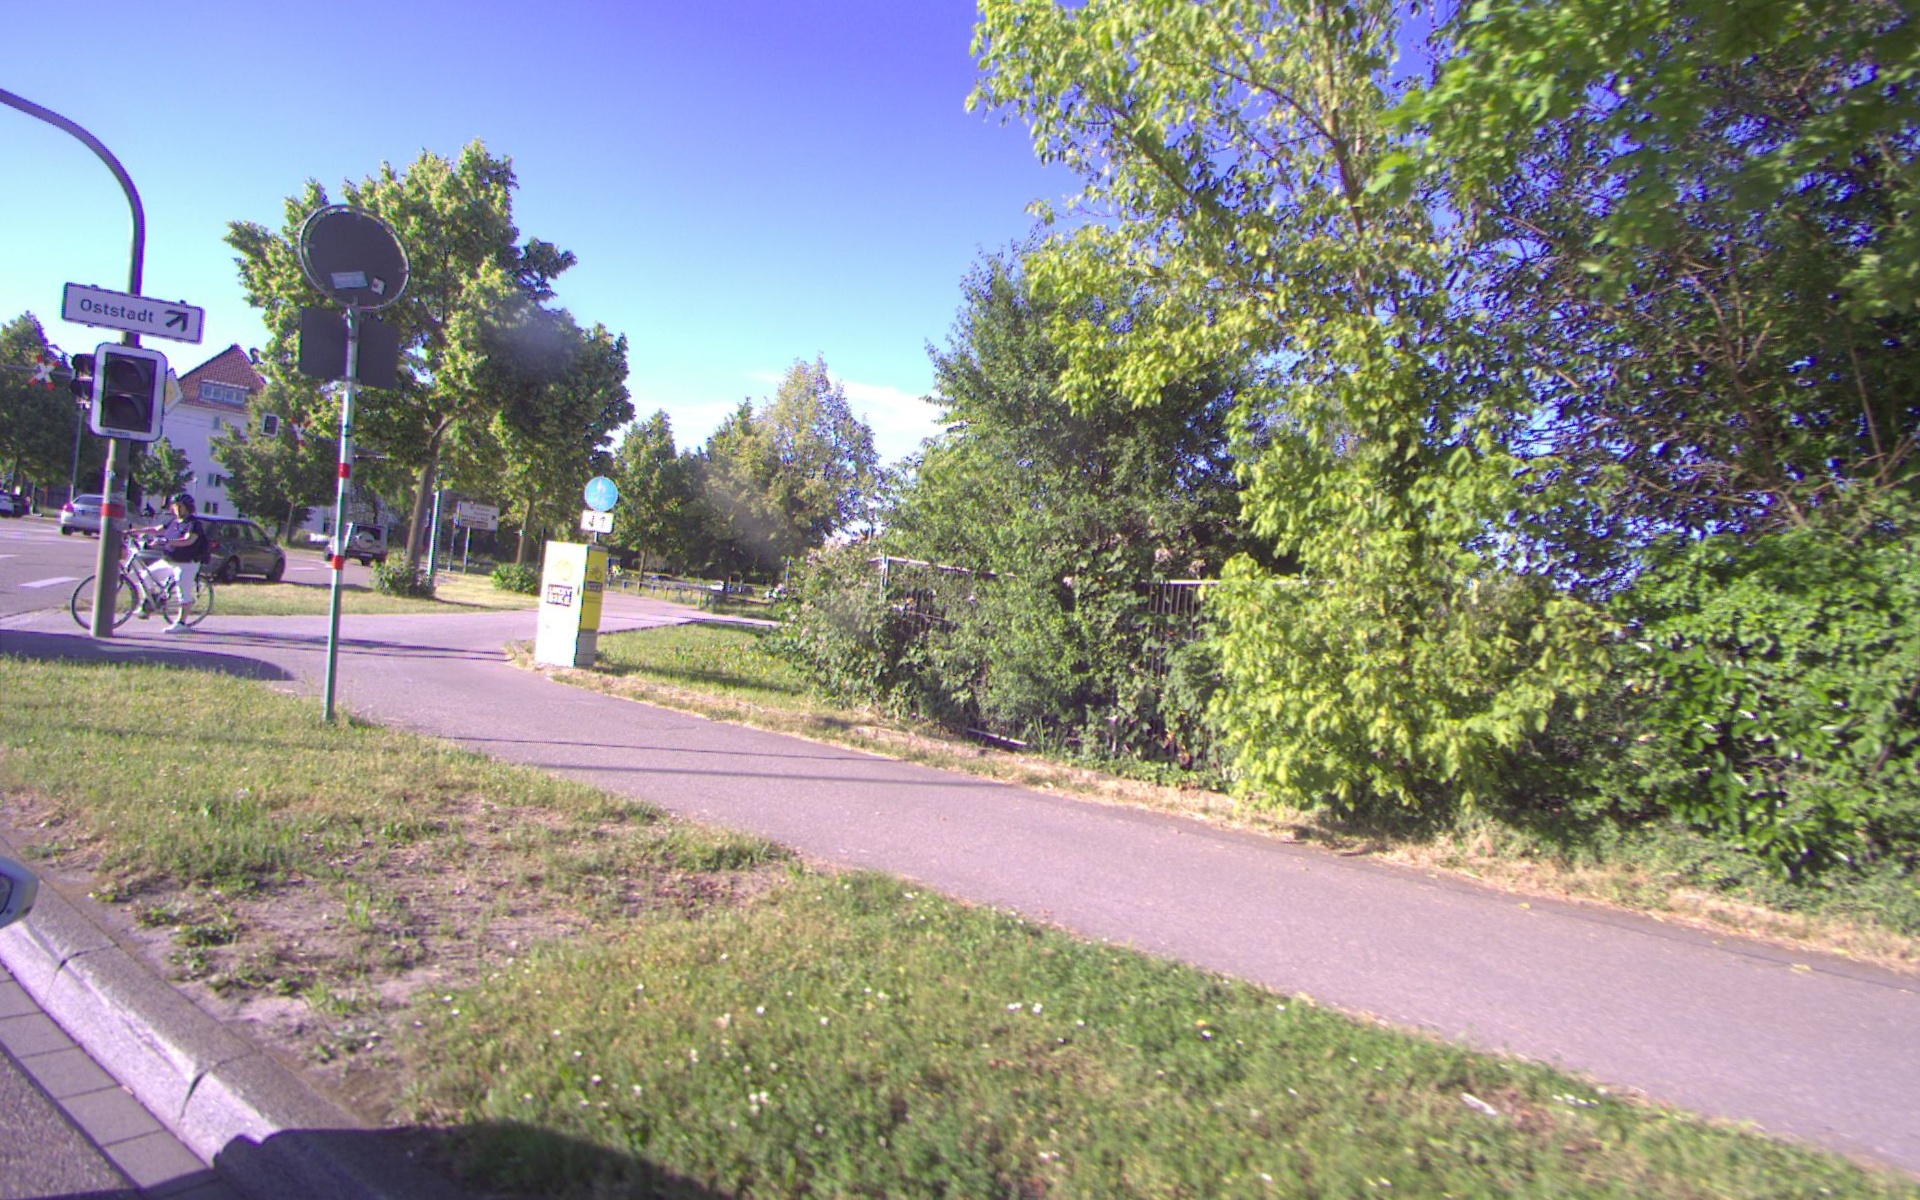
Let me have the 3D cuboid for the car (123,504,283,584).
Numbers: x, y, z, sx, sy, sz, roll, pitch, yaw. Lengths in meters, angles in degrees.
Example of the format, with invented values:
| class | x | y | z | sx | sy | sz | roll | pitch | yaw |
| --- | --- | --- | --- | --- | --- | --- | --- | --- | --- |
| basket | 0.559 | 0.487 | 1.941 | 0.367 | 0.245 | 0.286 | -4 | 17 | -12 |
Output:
| class | x | y | z | sx | sy | sz | roll | pitch | yaw |
| --- | --- | --- | --- | --- | --- | --- | --- | --- | --- |
| car | -17.288 | -1.241 | 23.207 | 1.695 | 1.453 | 4.133 | 7 | 0 | -20 |

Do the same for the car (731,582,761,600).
| class | x | y | z | sx | sy | sz | roll | pitch | yaw |
| --- | --- | --- | --- | --- | --- | --- | --- | --- | --- |
| car | -23.775 | -1.003 | 111.593 | 1.979 | 1.788 | 3.971 | 8 | -3 | -31 |

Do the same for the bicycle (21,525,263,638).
| class | x | y | z | sx | sy | sz | roll | pitch | yaw |
| --- | --- | --- | --- | --- | --- | --- | --- | --- | --- |
| bicycle | -9.772 | -0.188 | 12.163 | 0.859 | 1.169 | 2.217 | 5 | 0 | 8 |

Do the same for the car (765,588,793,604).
| class | x | y | z | sx | sy | sz | roll | pitch | yaw |
| --- | --- | --- | --- | --- | --- | --- | --- | --- | --- |
| car | -20.544 | -0.473 | 113.979 | 1.813 | 1.574 | 3.781 | 8 | -3 | -29 |

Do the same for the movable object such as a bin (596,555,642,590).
| class | x | y | z | sx | sy | sz | roll | pitch | yaw |
| --- | --- | --- | --- | --- | --- | --- | --- | --- | --- |
| movable object such as a bin | -31.590 | -2.561 | 93.128 | 1.987 | 2.820 | 4.991 | 8 | -3 | -41 |

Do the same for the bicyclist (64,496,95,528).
| class | x | y | z | sx | sy | sz | roll | pitch | yaw |
| --- | --- | --- | --- | --- | --- | --- | --- | --- | --- |
| bicyclist | -58.302 | -5.845 | 66.633 | 1.007 | 1.873 | 0.885 | 7 | -2 | -4 |

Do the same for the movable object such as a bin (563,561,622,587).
| class | x | y | z | sx | sy | sz | roll | pitch | yaw |
| --- | --- | --- | --- | --- | --- | --- | --- | --- | --- |
| movable object such as a bin | -37.043 | -2.636 | 101.535 | 4.984 | 1.970 | 2.217 | 9 | -3 | -39 |

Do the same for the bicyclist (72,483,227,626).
| class | x | y | z | sx | sy | sz | roll | pitch | yaw |
| --- | --- | --- | --- | --- | --- | --- | --- | --- | --- |
| bicyclist | -9.740 | -0.521 | 12.133 | 0.859 | 1.582 | 1.088 | 5 | 1 | 8 |

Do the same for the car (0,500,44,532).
| class | x | y | z | sx | sy | sz | roll | pitch | yaw |
| --- | --- | --- | --- | --- | --- | --- | --- | --- | --- |
| car | -55.580 | -5.023 | 57.515 | 4.329 | 1.558 | 1.999 | 7 | 0 | -4 |

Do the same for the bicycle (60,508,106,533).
| class | x | y | z | sx | sy | sz | roll | pitch | yaw |
| --- | --- | --- | --- | --- | --- | --- | --- | --- | --- |
| bicycle | -59.262 | -5.355 | 67.984 | 2.169 | 1.280 | 0.885 | 7 | -2 | -3 |

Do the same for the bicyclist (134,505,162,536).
| class | x | y | z | sx | sy | sz | roll | pitch | yaw |
| --- | --- | --- | --- | --- | --- | --- | --- | --- | --- |
| bicyclist | -55.207 | -5.387 | 68.401 | 1.006 | 1.873 | 0.813 | 6 | -2 | 9 |

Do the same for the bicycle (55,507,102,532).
| class | x | y | z | sx | sy | sz | roll | pitch | yaw |
| --- | --- | --- | --- | --- | --- | --- | --- | --- | --- |
| bicycle | -58.372 | -5.315 | 66.640 | 2.169 | 1.280 | 0.885 | 7 | -2 | -3 |

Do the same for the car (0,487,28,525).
| class | x | y | z | sx | sy | sz | roll | pitch | yaw |
| --- | --- | --- | --- | --- | --- | --- | --- | --- | --- |
| car | -47.128 | -4.724 | 47.989 | 4.325 | 1.659 | 2.000 | 7 | 0 | 19 |

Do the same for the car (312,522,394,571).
| class | x | y | z | sx | sy | sz | roll | pitch | yaw |
| --- | --- | --- | --- | --- | --- | --- | --- | --- | --- |
| car | -28.582 | -2.558 | 47.322 | 4.690 | 1.920 | 1.993 | 5 | -1 | 43 |

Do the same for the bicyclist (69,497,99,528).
| class | x | y | z | sx | sy | sz | roll | pitch | yaw |
| --- | --- | --- | --- | --- | --- | --- | --- | --- | --- |
| bicyclist | -59.202 | -5.885 | 67.992 | 1.007 | 1.873 | 0.885 | 6 | -2 | 0 |

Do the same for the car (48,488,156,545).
| class | x | y | z | sx | sy | sz | roll | pitch | yaw |
| --- | --- | --- | --- | --- | --- | --- | --- | --- | --- |
| car | -29.839 | -2.867 | 35.141 | 1.979 | 1.594 | 4.373 | 7 | 0 | -30 |

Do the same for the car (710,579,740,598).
| class | x | y | z | sx | sy | sz | roll | pitch | yaw |
| --- | --- | --- | --- | --- | --- | --- | --- | --- | --- |
| car | -26.026 | -1.275 | 111.187 | 1.979 | 1.743 | 3.971 | 8 | -3 | -31 |
